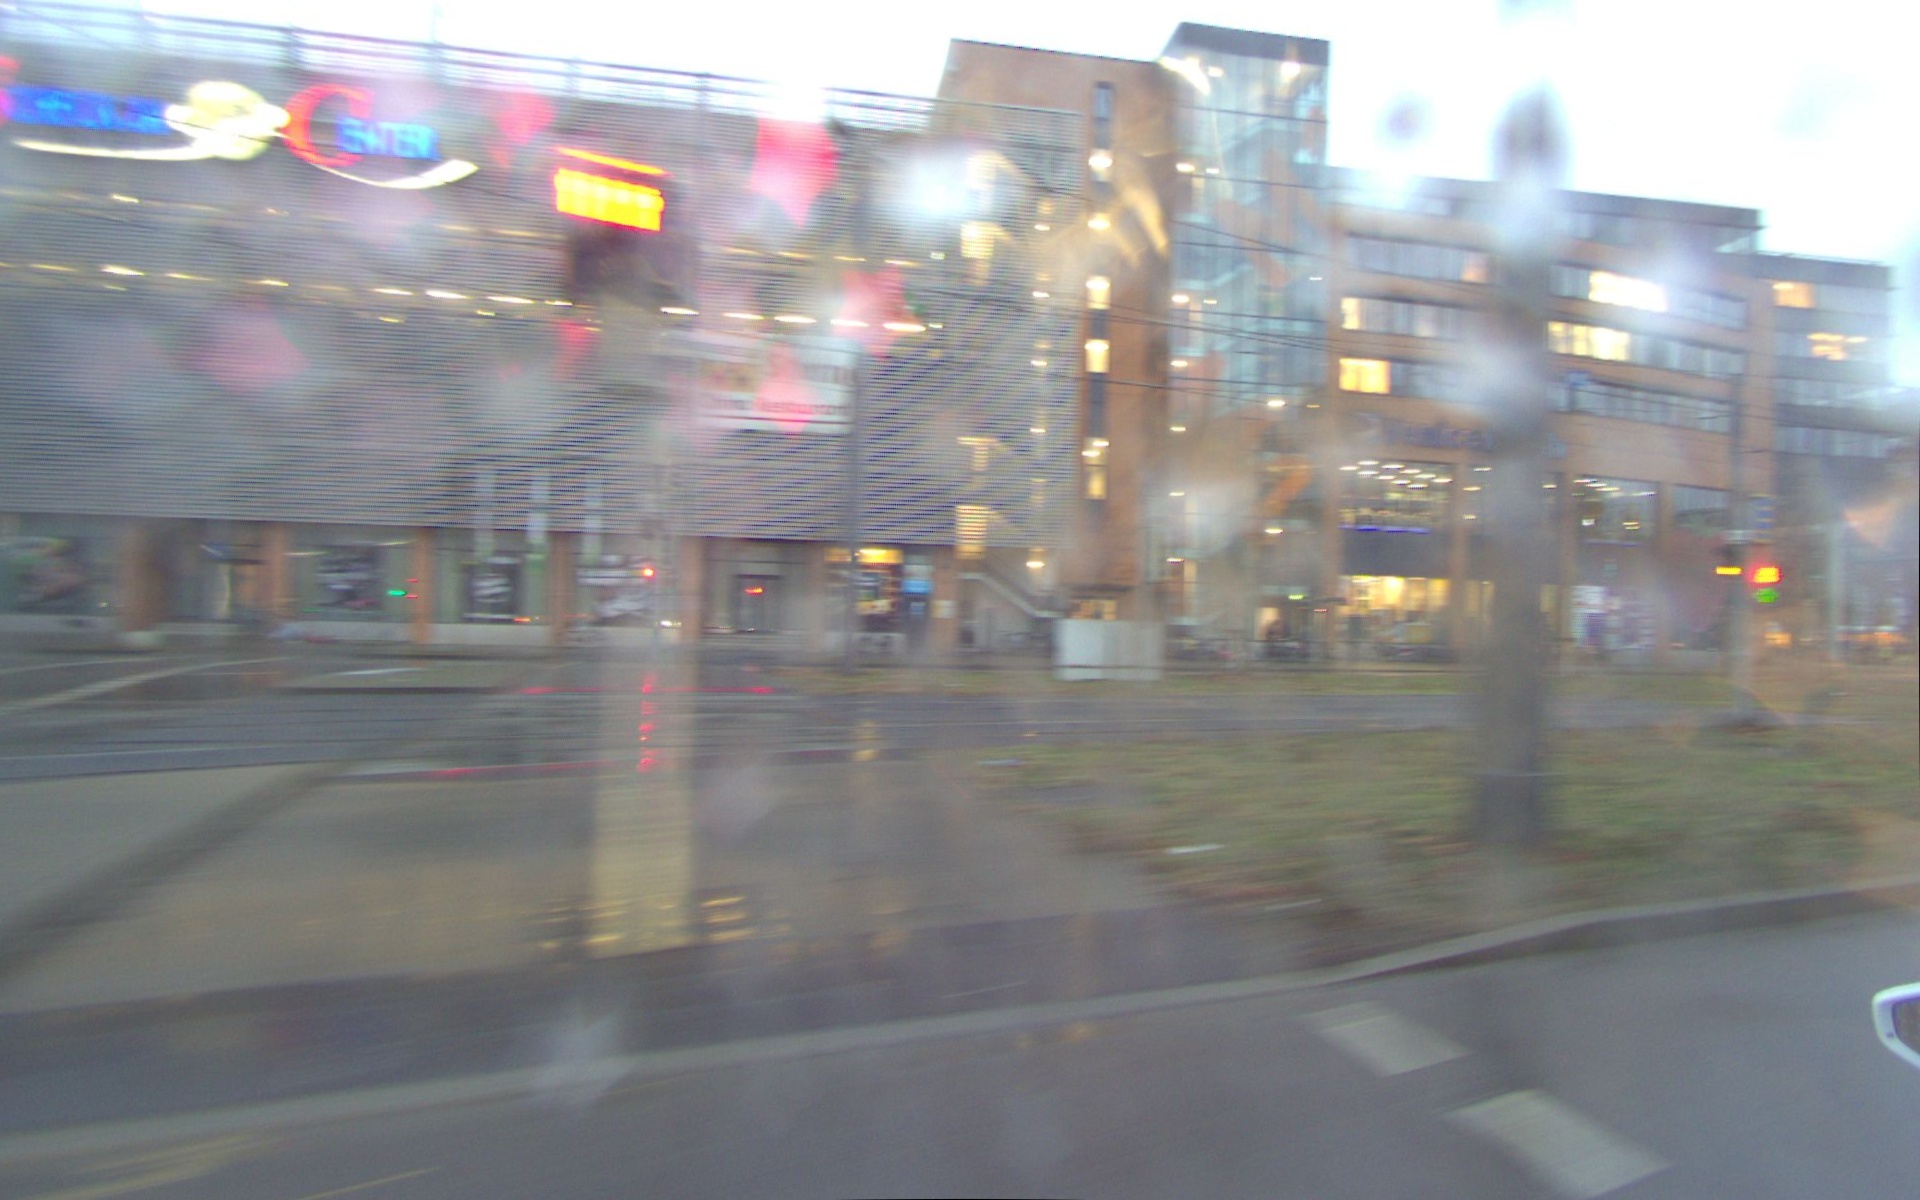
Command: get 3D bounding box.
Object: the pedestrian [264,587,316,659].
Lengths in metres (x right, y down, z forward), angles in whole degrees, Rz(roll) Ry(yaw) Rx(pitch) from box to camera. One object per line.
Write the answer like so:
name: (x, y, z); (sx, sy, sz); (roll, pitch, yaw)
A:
pedestrian: (-23.856, 0.823, 35.765); (1.093, 2.471, 0.965); (3, -2, -7)

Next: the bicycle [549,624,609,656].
bicycle: (-14.878, 1.562, 39.267); (2.053, 1.136, 0.476); (3, -2, -9)
